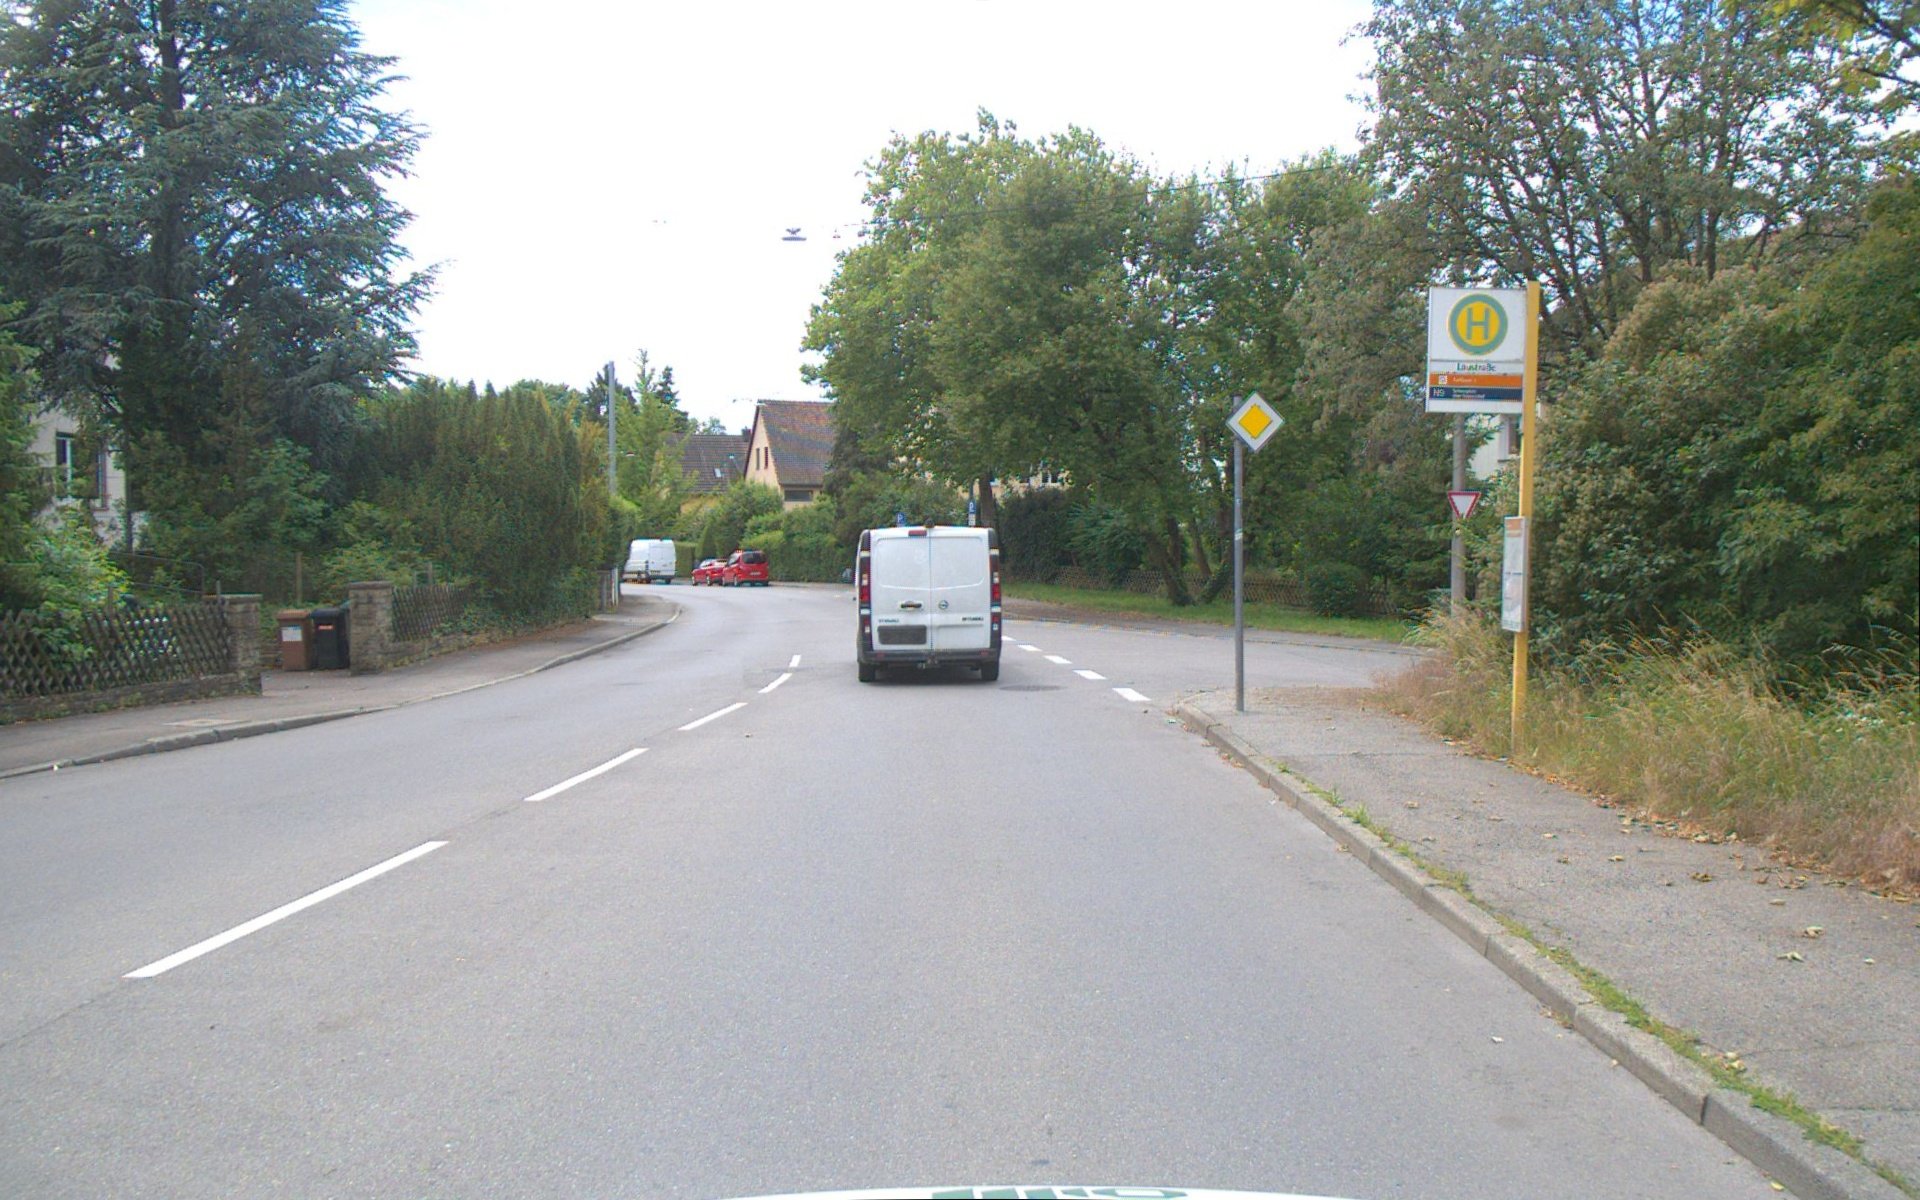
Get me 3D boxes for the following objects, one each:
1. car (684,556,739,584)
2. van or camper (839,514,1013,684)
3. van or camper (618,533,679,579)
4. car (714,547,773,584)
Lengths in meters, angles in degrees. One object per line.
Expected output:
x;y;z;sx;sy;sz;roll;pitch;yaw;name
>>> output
-13.437;-1.625;89.358;1.693;1.493;4.230;-1;2;-28;car
-0.581;-0.128;22.619;1.887;2.048;4.823;1;3;-7;van or camper
-19.190;-2.696;101.630;2.042;2.721;6.274;-1;2;-27;van or camper
-11.079;-1.770;84.387;1.737;1.828;4.913;-1;2;-24;car
